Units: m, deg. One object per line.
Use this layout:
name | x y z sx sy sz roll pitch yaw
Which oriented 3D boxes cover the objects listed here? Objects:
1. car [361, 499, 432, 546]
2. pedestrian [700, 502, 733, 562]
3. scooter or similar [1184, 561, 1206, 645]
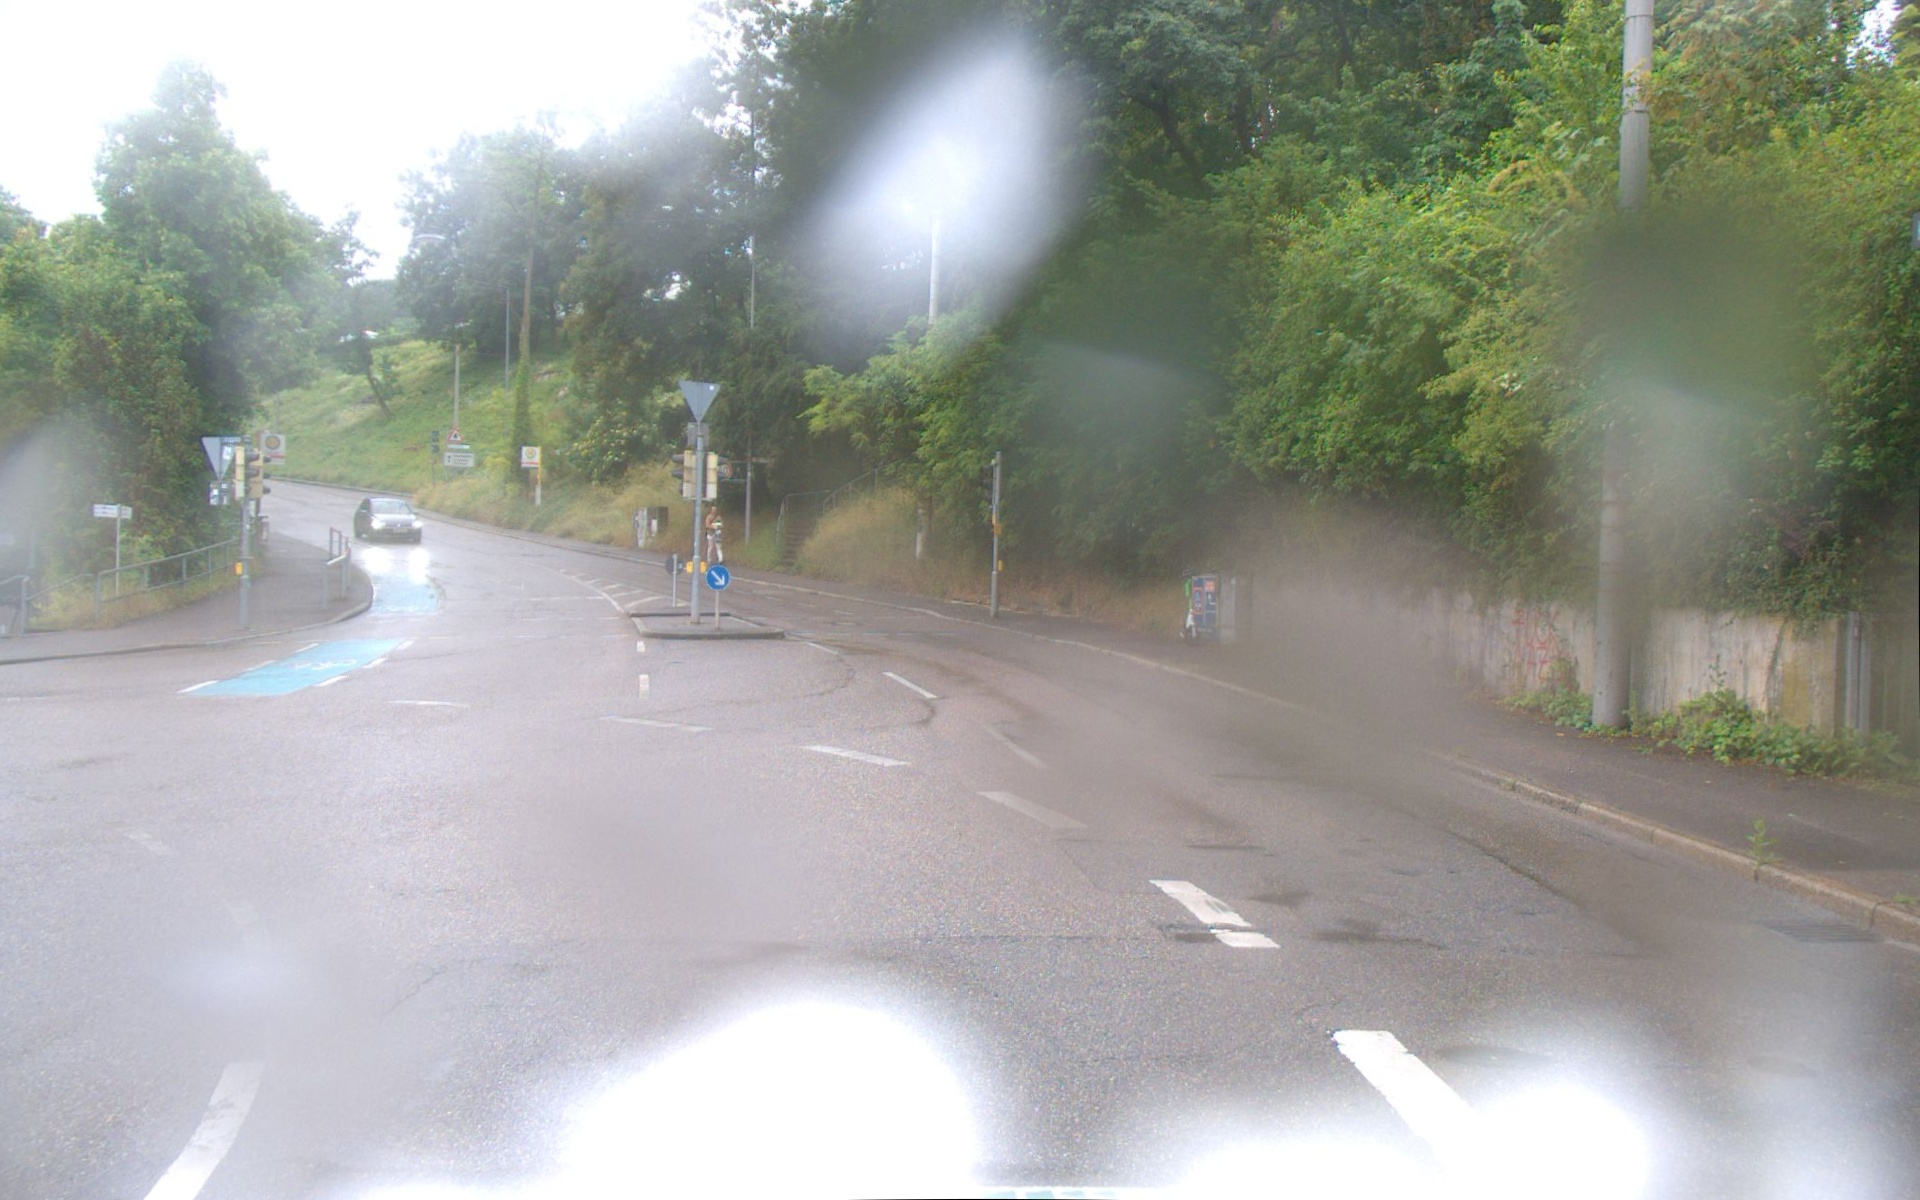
car | -20.259 -2.810 59.365 1.931 1.538 4.371 1 3 -25
pedestrian | -7.370 -2.043 50.054 0.867 1.767 0.861 1 -1 -18
scooter or similar | 3.771 0.037 26.545 0.315 1.302 0.752 0 3 7
